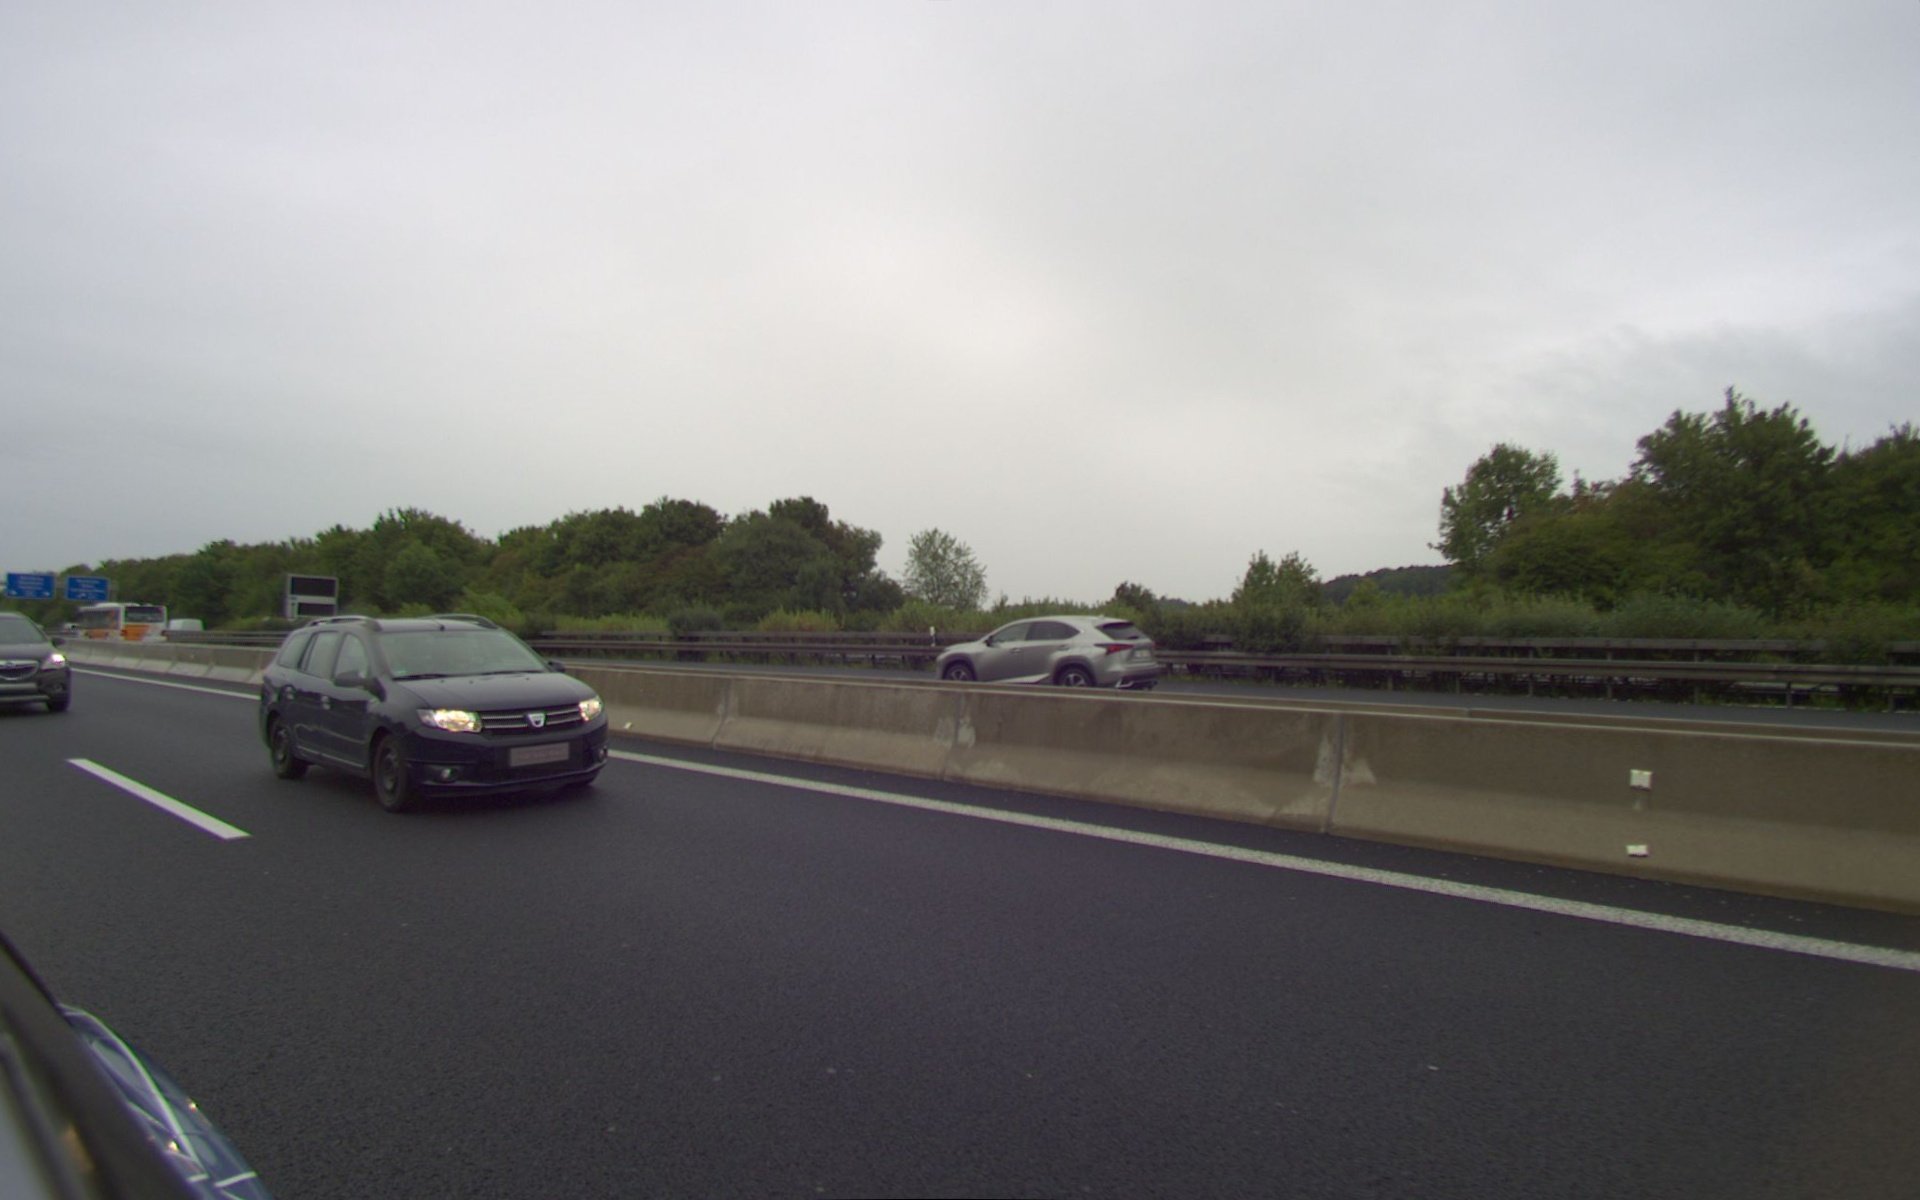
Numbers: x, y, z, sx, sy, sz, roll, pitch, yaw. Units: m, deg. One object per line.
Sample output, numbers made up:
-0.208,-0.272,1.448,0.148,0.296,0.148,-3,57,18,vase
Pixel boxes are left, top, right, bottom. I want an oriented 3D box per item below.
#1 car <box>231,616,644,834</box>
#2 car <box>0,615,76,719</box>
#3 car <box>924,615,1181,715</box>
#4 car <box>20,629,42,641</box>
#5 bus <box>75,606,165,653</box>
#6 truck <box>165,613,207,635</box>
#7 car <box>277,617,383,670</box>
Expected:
-4.895,0.911,9.164,4.564,1.501,1.704,-1,-2,40,car
-16.213,1.040,16.653,3.829,1.592,1.791,-1,-2,38,car
1.640,1.119,18.990,4.600,1.662,1.872,-1,-2,41,car
-139.307,5.201,151.764,4.408,1.800,1.782,-1,-3,40,car
-58.006,1.992,69.719,11.888,2.981,2.671,-1,-2,40,bus
-84.199,2.636,110.027,6.149,2.259,2.006,-1,-3,37,truck
-22.059,1.474,35.384,4.301,1.724,1.973,-1,-2,41,car
